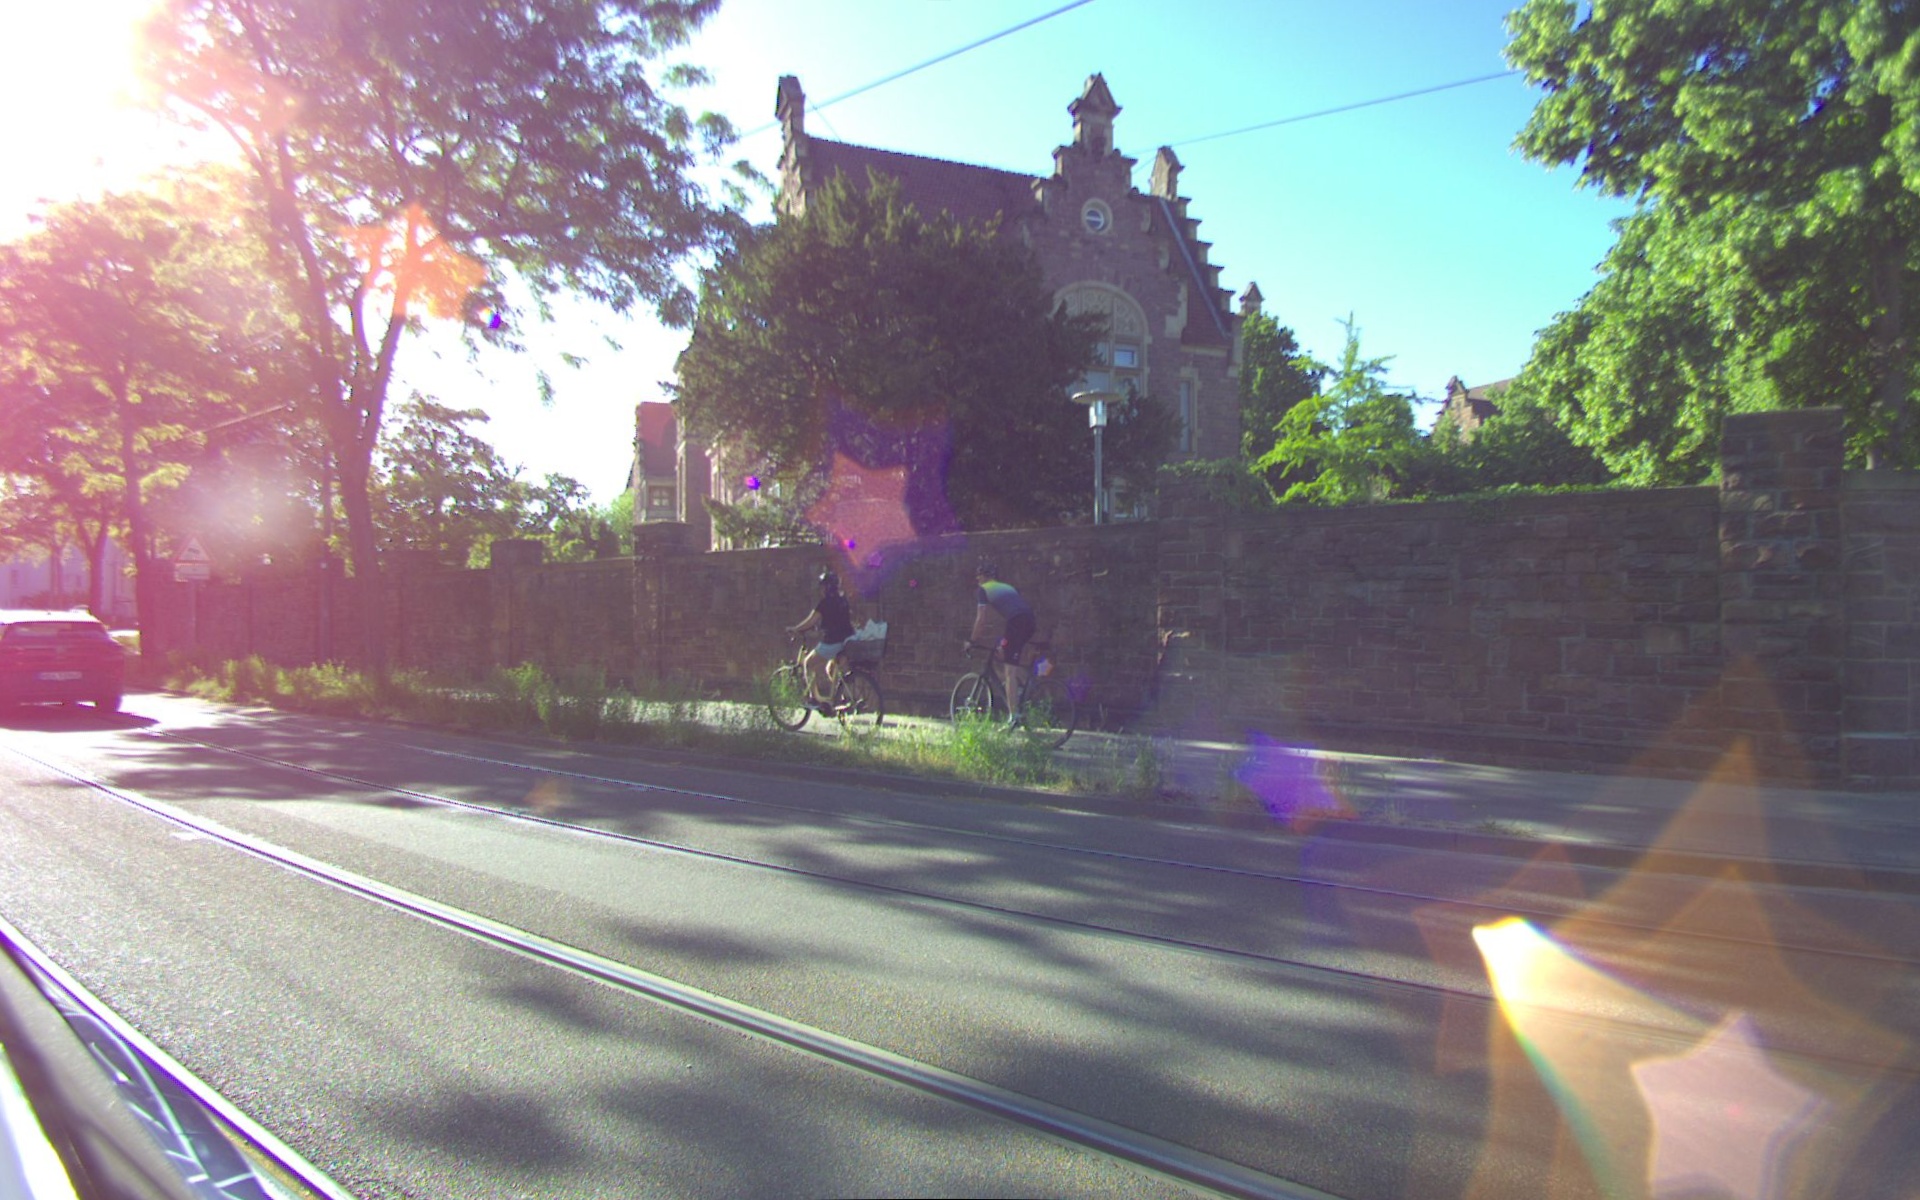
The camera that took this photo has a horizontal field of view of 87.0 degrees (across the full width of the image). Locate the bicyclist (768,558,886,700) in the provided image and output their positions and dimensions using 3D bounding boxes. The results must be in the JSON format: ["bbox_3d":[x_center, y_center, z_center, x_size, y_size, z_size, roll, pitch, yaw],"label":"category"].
[{"bbox_3d":[-1.465,0.316,11.088,1.150,1.470,0.647,-1,-1,37],"label":"bicyclist"}]

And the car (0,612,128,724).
[{"bbox_3d":[-15.139,1.027,16.513,4.358,1.619,1.798,-1,-1,42],"label":"car"}]

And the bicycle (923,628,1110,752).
[{"bbox_3d":[0.546,0.868,10.302,1.854,1.097,0.677,1,-1,41],"label":"bicycle"}]

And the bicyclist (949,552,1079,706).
[{"bbox_3d":[0.541,0.288,10.304,1.151,1.470,0.646,-1,-1,41],"label":"bicyclist"}]

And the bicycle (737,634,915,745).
[{"bbox_3d":[-1.505,0.928,11.103,2.060,1.097,0.678,-1,-1,38],"label":"bicycle"}]
